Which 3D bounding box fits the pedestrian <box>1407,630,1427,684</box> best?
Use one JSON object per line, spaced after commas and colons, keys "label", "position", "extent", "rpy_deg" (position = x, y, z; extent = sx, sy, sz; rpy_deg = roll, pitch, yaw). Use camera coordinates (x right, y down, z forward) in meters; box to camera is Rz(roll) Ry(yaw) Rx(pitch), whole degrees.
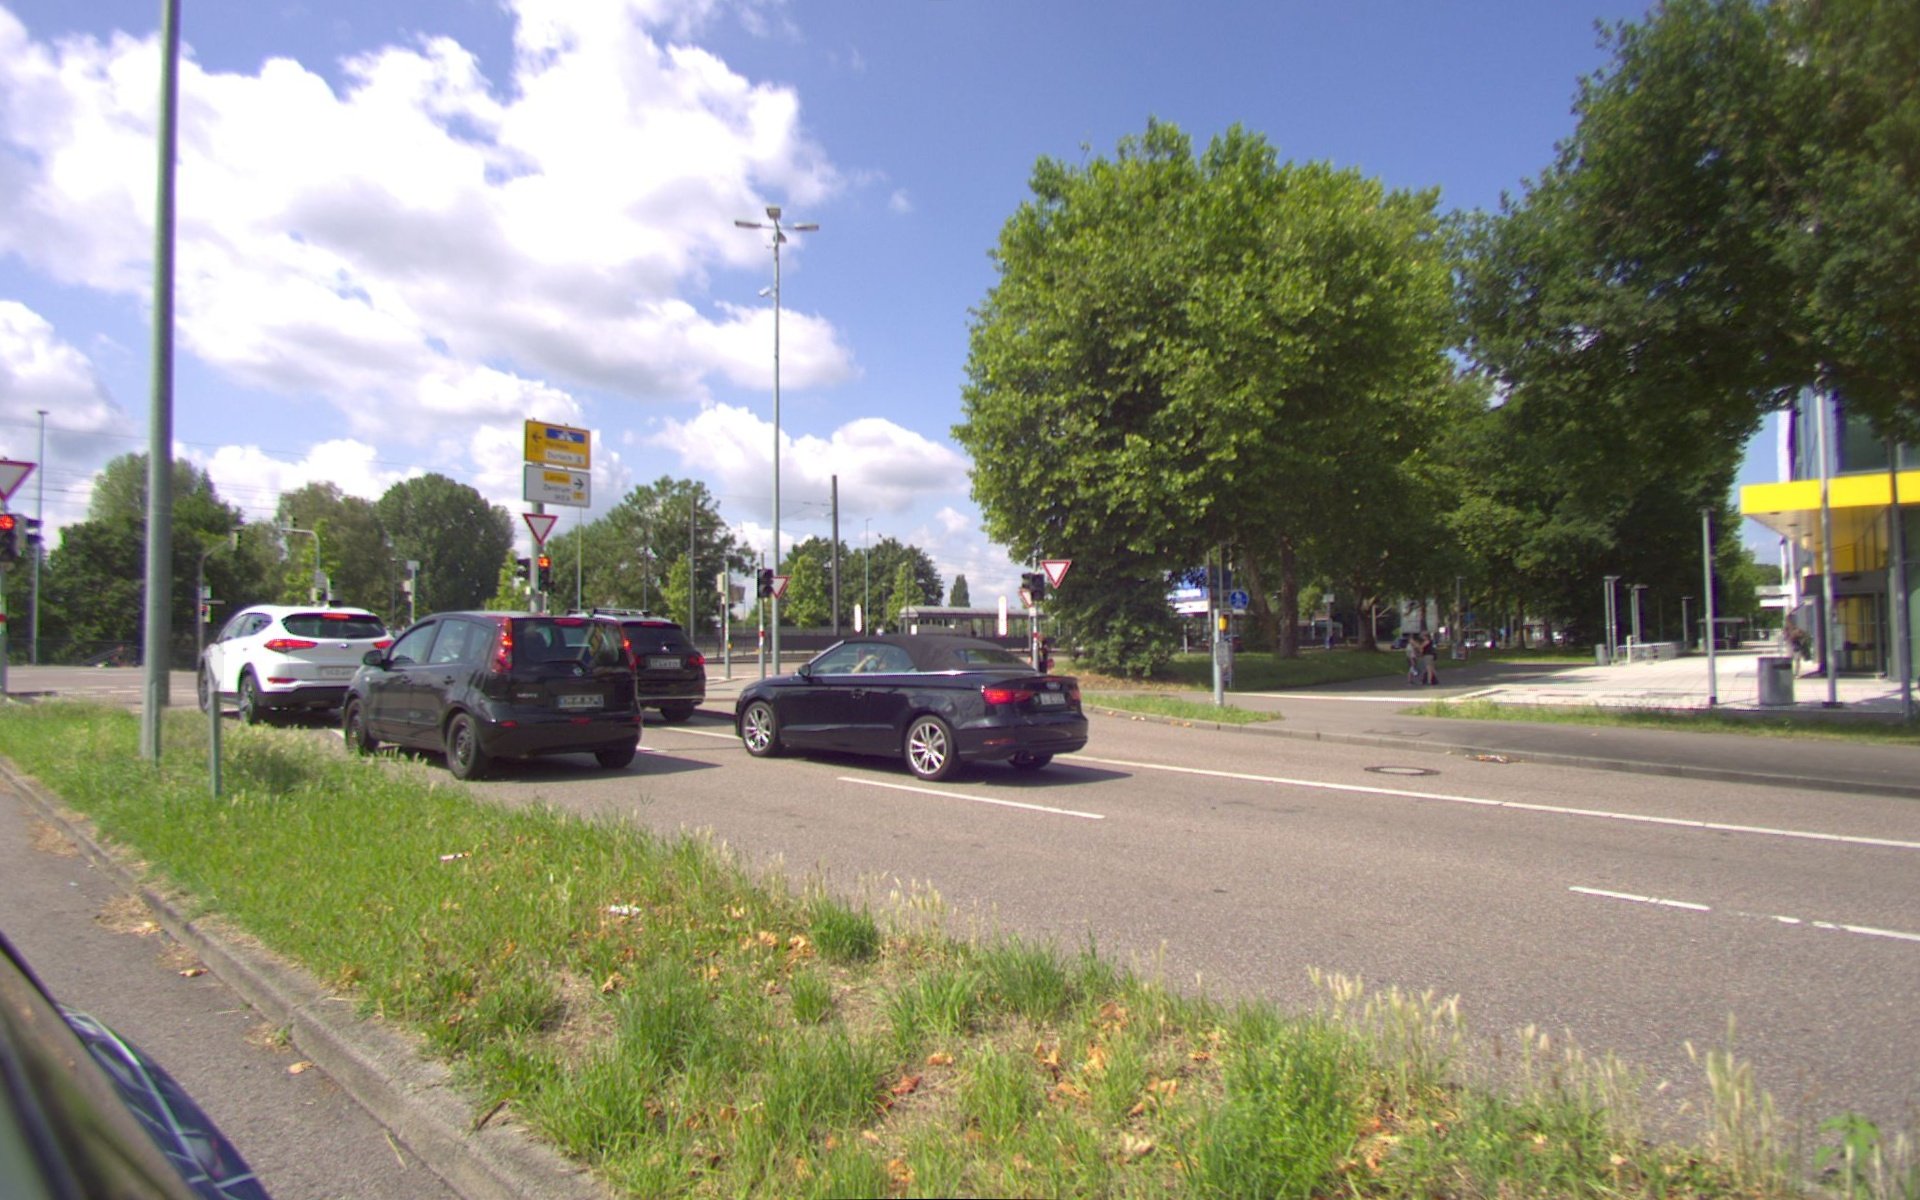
{"label": "pedestrian", "position": [14.712, 1.823, 32.577], "extent": [0.449, 1.716, 0.399], "rpy_deg": [-3, -3, 35]}

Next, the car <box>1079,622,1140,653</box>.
{"label": "car", "position": [8.937, 2.227, 60.215], "extent": [2.016, 1.737, 4.203], "rpy_deg": [-3, -2, 33]}

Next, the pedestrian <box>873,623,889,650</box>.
{"label": "pedestrian", "position": [-5.177, 2.412, 66.243], "extent": [0.760, 1.722, 0.782], "rpy_deg": [-2, -4, 36]}

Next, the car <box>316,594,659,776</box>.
{"label": "car", "position": [-4.958, 0.774, 10.357], "extent": [4.130, 1.505, 1.587], "rpy_deg": [-1, -4, 41]}

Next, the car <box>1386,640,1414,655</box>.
{"label": "car", "position": [49.084, 5.313, 112.978], "extent": [1.997, 1.608, 3.950], "rpy_deg": [-2, -3, 37]}

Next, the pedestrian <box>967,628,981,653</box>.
{"label": "pedestrian", "position": [1.009, 3.010, 74.785], "extent": [0.759, 1.867, 0.783], "rpy_deg": [-2, -4, 33]}

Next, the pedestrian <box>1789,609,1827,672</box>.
{"label": "pedestrian", "position": [23.471, 1.112, 28.027], "extent": [0.709, 1.719, 0.888], "rpy_deg": [-1, -2, 36]}

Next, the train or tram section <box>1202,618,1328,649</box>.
{"label": "train or tram section", "position": [35.143, 4.018, 115.068], "extent": [4.526, 3.055, 24.795], "rpy_deg": [-2, -4, 39]}

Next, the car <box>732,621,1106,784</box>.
{"label": "car", "position": [-0.574, 0.965, 10.658], "extent": [4.094, 1.402, 1.396], "rpy_deg": [-1, -4, 42]}

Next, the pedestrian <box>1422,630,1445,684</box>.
{"label": "pedestrian", "position": [15.097, 1.816, 32.267], "extent": [0.515, 1.716, 0.405], "rpy_deg": [-3, -3, 35]}

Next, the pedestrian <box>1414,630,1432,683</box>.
{"label": "pedestrian", "position": [15.158, 1.843, 33.134], "extent": [0.409, 1.716, 0.522], "rpy_deg": [-3, -2, 32]}

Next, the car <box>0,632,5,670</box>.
{"label": "car", "position": [-39.080, 2.057, 38.679], "extent": [1.696, 1.466, 3.453], "rpy_deg": [1, 2, 32]}

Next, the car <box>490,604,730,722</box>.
{"label": "car", "position": [-5.583, 0.922, 15.940], "extent": [3.998, 1.628, 1.752], "rpy_deg": [0, -3, 41]}

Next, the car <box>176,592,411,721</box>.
{"label": "car", "position": [-9.917, 0.781, 14.933], "extent": [4.375, 1.632, 1.690], "rpy_deg": [-1, -3, 40]}

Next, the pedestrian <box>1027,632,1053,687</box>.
{"label": "pedestrian", "position": [2.236, 1.661, 28.238], "extent": [0.616, 1.502, 0.435], "rpy_deg": [-1, -2, 25]}

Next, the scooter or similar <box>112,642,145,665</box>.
{"label": "scooter or similar", "position": [-41.806, 2.679, 50.878], "extent": [0.343, 1.107, 1.234], "rpy_deg": [-3, -2, 38]}
